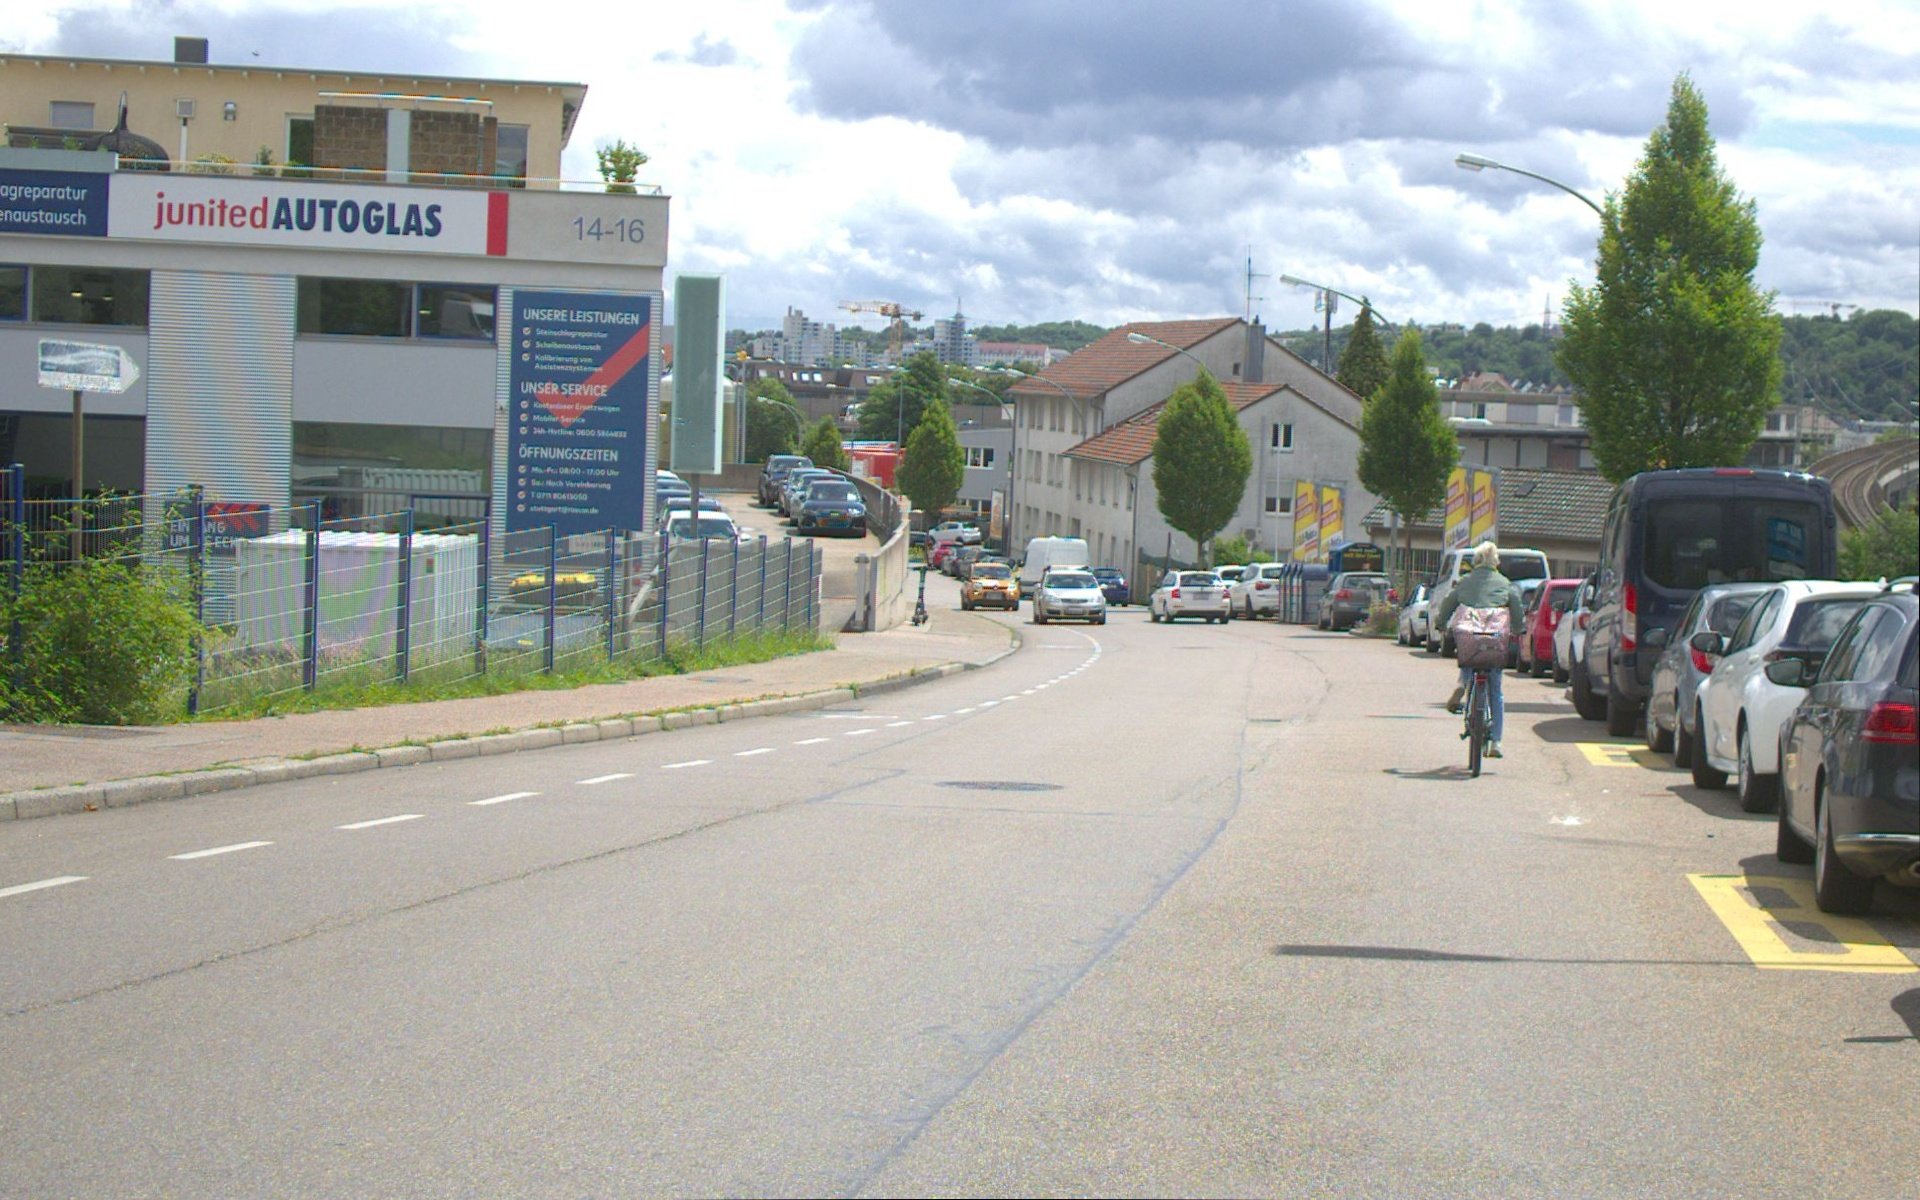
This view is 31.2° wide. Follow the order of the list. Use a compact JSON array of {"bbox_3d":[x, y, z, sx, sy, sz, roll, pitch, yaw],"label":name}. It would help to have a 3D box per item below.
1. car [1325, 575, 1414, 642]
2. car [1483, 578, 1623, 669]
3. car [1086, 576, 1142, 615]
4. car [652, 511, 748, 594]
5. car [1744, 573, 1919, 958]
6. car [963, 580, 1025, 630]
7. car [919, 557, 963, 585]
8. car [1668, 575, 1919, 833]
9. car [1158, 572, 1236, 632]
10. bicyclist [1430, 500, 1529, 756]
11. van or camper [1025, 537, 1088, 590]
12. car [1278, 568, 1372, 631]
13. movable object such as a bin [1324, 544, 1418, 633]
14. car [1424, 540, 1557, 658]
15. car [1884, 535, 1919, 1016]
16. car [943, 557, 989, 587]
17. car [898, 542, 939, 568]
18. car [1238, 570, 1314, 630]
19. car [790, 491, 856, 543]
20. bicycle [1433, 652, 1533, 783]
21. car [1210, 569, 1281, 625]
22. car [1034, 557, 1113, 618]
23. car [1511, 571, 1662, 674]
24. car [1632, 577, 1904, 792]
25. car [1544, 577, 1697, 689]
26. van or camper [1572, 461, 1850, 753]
[{"bbox_3d":[10.275,0.196,86.443,1.994,1.612,3.999,1,0,4],"label":"car"},{"bbox_3d":[9.783,0.367,56.891,1.903,1.437,3.543,1,0,4],"label":"car"},{"bbox_3d":[5.942,-0.187,133.411,1.993,1.459,4.000,1,0,0],"label":"car"},{"bbox_3d":[-5.395,-0.963,71.058,1.847,1.645,4.001,1,0,-6],"label":"car"},{"bbox_3d":[4.727,0.682,15.771,1.706,1.482,4.571,3,1,7],"label":"car"},{"bbox_3d":[1.090,0.148,112.117,1.708,1.568,4.001,1,0,-4],"label":"car"},{"bbox_3d":[-0.991,-1.496,177.926,1.993,1.459,4.001,1,0,-4],"label":"car"},{"bbox_3d":[5.799,0.633,22.861,1.706,1.474,3.957,3,1,6],"label":"car"},{"bbox_3d":[6.496,0.041,94.614,1.993,1.612,4.000,1,0,2],"label":"car"},{"bbox_3d":[3.784,0.198,25.078,0.685,1.819,1.080,1,0,8],"label":"bicyclist"},{"bbox_3d":[3.989,-1.539,142.794,1.993,2.007,4.001,4,1,-6],"label":"van or camper"},{"bbox_3d":[10.091,-0.022,95.378,2.134,1.700,4.000,1,0,0],"label":"car"},{"bbox_3d":[10.843,-0.301,90.775,2.134,2.295,2.558,1,0,0],"label":"movable object such as a bin"},{"bbox_3d":[9.764,-0.037,63.620,1.994,2.007,4.917,3,0,5],"label":"car"},{"bbox_3d":[4.053,0.674,10.553,1.706,1.672,4.307,3,1,7],"label":"car"},{"bbox_3d":[0.291,-1.409,171.039,1.993,1.459,4.001,1,0,-4],"label":"car"},{"bbox_3d":[-2.337,-2.538,193.971,1.993,1.415,4.001,1,0,-5],"label":"car"},{"bbox_3d":[9.245,-0.003,100.691,1.813,1.700,4.000,1,0,0],"label":"car"},{"bbox_3d":[-3.731,-2.258,93.310,1.670,1.319,3.719,2,1,-4],"label":"car"},{"bbox_3d":[3.827,0.842,25.237,0.688,0.875,2.101,1,0,8],"label":"bicycle"},{"bbox_3d":[8.845,-0.109,106.727,1.842,1.700,4.000,1,0,0],"label":"car"},{"bbox_3d":[3.016,-0.346,92.282,1.702,1.556,4.328,1,0,-3],"label":"car"},{"bbox_3d":[9.508,0.320,52.433,1.875,1.503,3.999,1,0,5],"label":"car"},{"bbox_3d":[6.485,0.626,27.931,1.706,1.505,3.695,3,1,7],"label":"car"},{"bbox_3d":[9.162,0.436,47.893,1.793,1.501,2.905,1,0,5],"label":"car"},{"bbox_3d":[7.336,0.044,34.145,2.125,2.576,5.915,2,0,8],"label":"van or camper"}]
